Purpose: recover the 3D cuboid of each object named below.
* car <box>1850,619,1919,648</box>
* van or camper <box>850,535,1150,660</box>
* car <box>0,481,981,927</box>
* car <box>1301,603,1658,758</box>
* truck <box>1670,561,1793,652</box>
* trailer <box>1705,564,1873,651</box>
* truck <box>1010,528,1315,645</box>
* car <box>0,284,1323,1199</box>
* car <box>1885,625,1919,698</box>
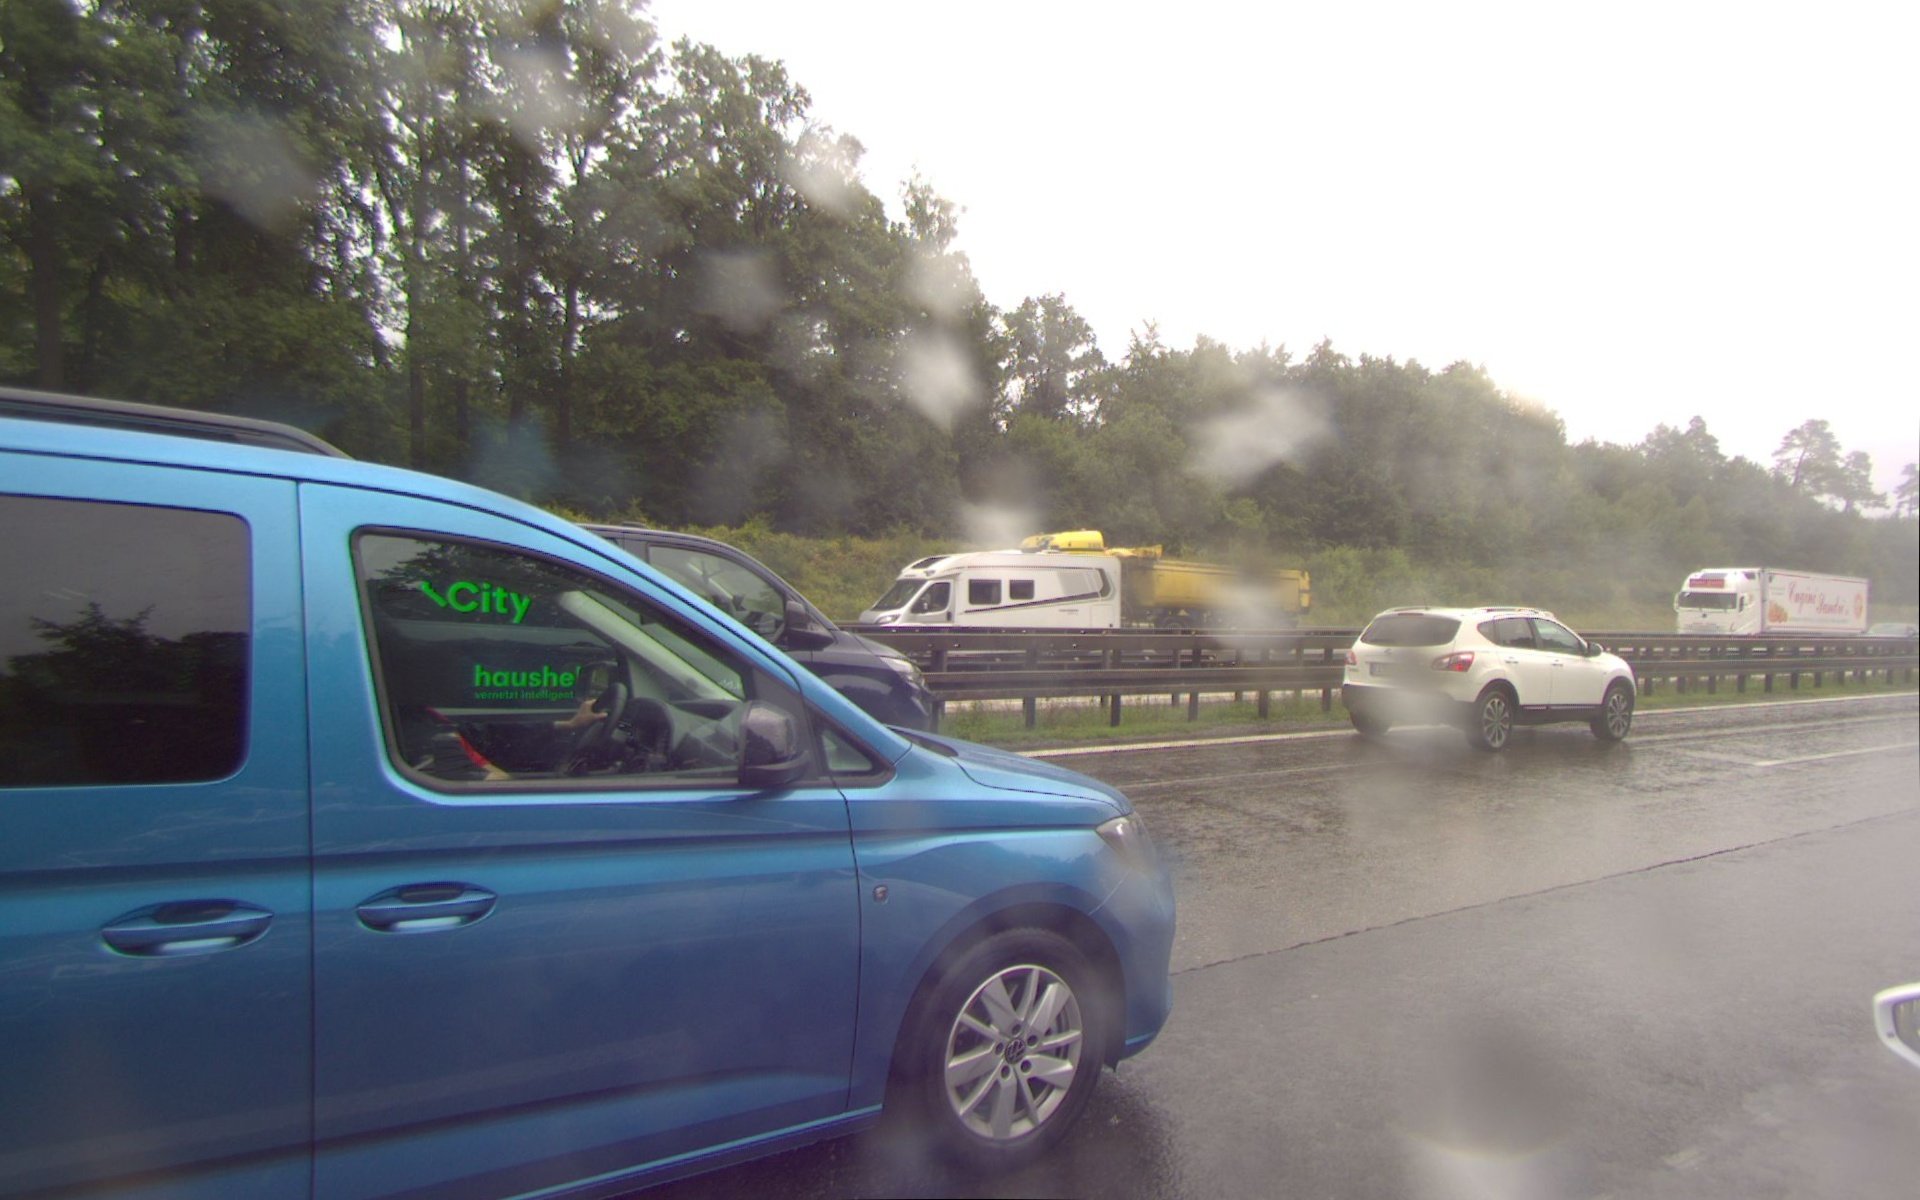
[{"bbox_3d":[45.053,1.624,48.720,3.955,1.363,1.792,1,-1,-32],"label":"car"},{"bbox_3d":[1.209,0.013,26.259,7.909,2.908,2.155,1,0,-31],"label":"van or camper"},{"bbox_3d":[-2.594,0.505,6.549,5.181,1.970,1.982,1,0,-30],"label":"car"},{"bbox_3d":[6.506,0.876,12.468,4.413,1.613,1.837,1,0,-30],"label":"car"},{"bbox_3d":[36.846,0.334,47.931,6.253,4.079,2.527,1,0,-32],"label":"truck"},{"bbox_3d":[43.008,0.494,51.864,13.698,4.079,2.526,1,0,-32],"label":"trailer"},{"bbox_3d":[7.257,-0.303,34.522,11.585,3.530,2.506,1,0,-31],"label":"truck"},{"bbox_3d":[-1.628,0.481,2.756,4.955,1.937,2.259,1,0,-29],"label":"car"},{"bbox_3d":[23.751,1.429,23.506,4.413,1.613,1.837,1,0,-30],"label":"car"}]
